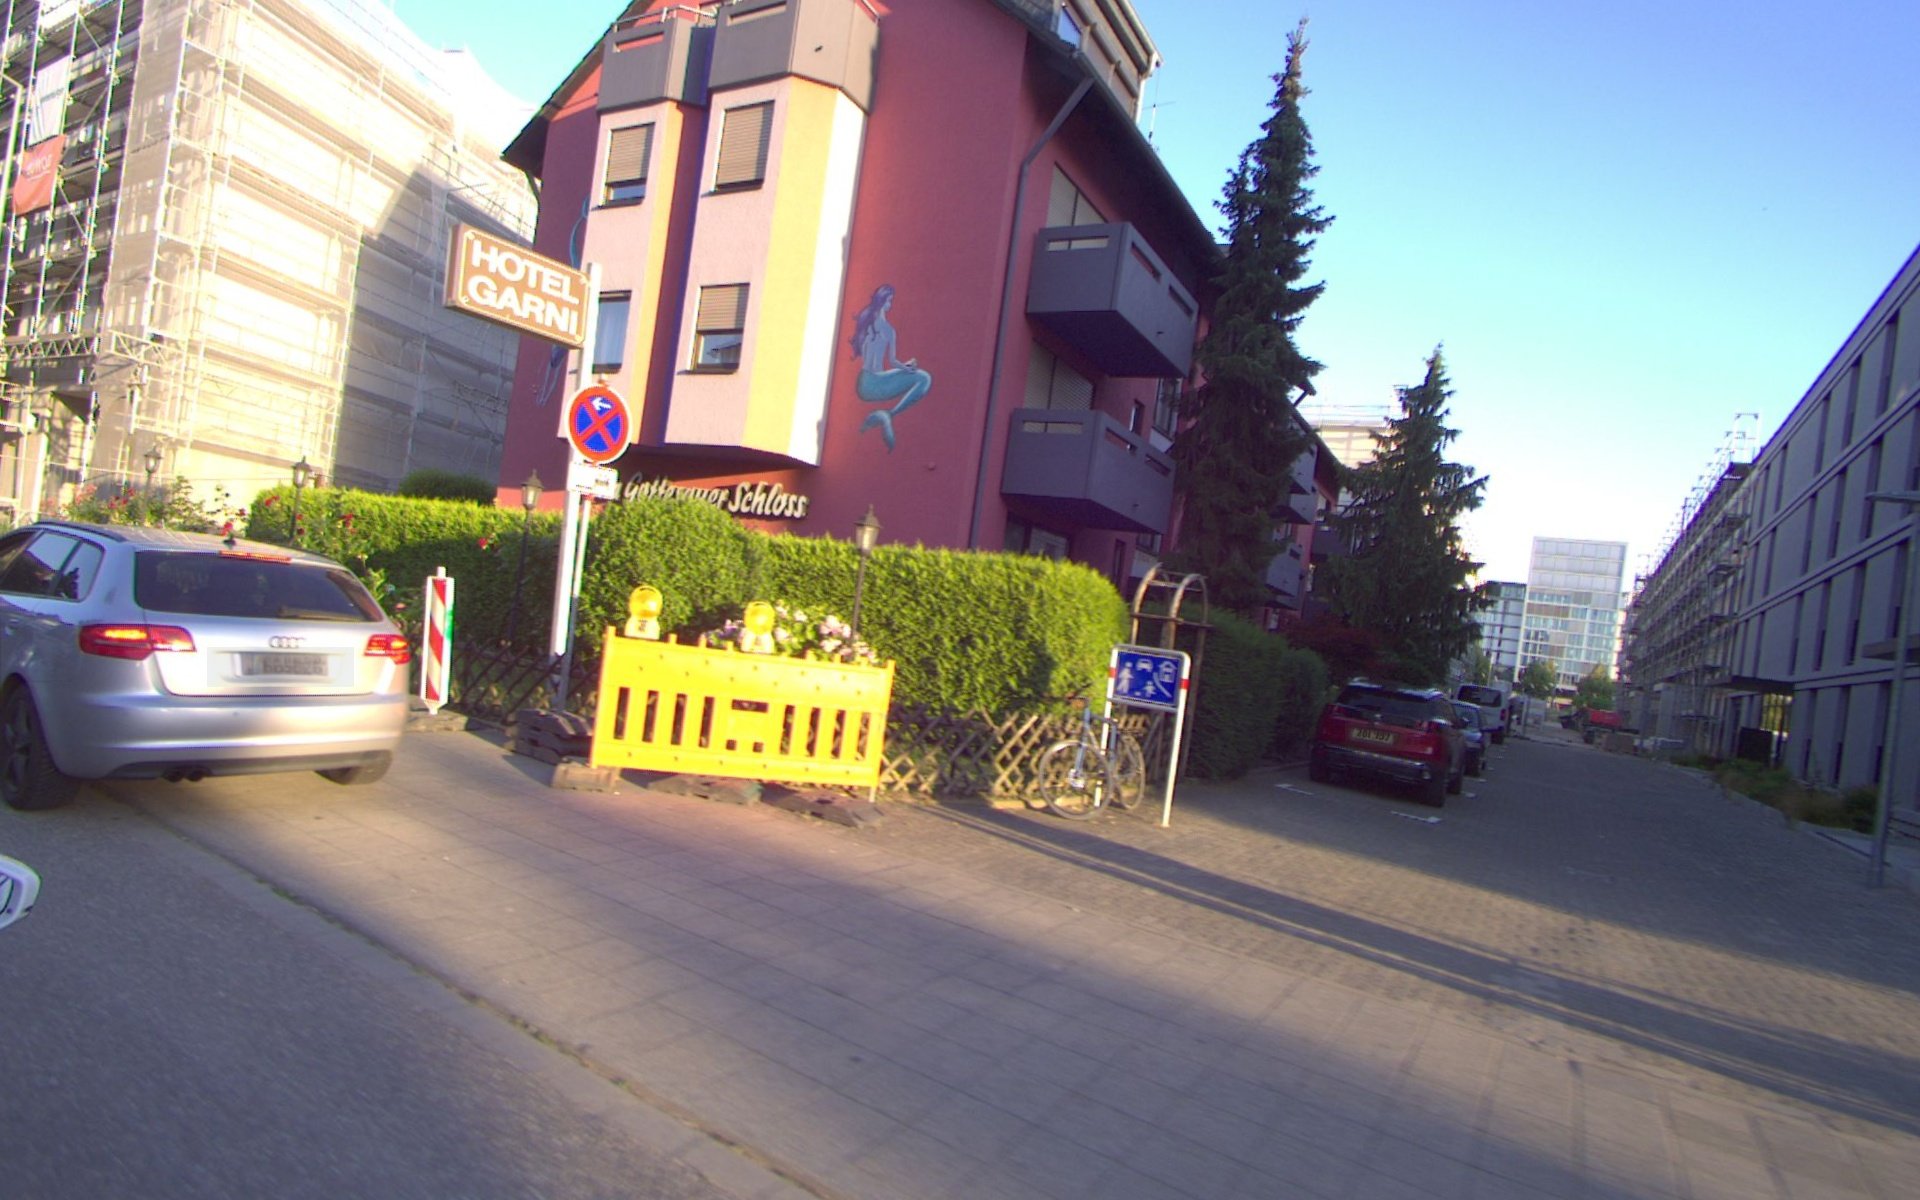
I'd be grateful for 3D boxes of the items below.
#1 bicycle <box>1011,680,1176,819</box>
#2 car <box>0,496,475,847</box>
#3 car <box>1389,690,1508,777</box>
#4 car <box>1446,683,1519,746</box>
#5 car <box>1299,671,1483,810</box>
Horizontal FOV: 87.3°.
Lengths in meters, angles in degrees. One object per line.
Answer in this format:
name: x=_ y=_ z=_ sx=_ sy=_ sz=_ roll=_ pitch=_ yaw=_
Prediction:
bicycle: x=1.256 y=1.331 z=9.098 sx=0.440 sy=1.082 sz=1.893 roll=8 pitch=-1 yaw=39
car: x=-5.071 y=0.222 z=6.191 sx=4.039 sy=1.413 sz=1.779 roll=8 pitch=-1 yaw=32
car: x=10.578 y=2.800 z=21.637 sx=1.731 sy=1.426 sz=3.907 roll=8 pitch=-1 yaw=32
car: x=19.104 y=4.153 z=36.689 sx=1.855 sy=1.873 sz=3.907 roll=8 pitch=-1 yaw=32
car: x=6.717 y=2.066 z=15.428 sx=1.855 sy=1.586 sz=3.907 roll=8 pitch=-1 yaw=32
